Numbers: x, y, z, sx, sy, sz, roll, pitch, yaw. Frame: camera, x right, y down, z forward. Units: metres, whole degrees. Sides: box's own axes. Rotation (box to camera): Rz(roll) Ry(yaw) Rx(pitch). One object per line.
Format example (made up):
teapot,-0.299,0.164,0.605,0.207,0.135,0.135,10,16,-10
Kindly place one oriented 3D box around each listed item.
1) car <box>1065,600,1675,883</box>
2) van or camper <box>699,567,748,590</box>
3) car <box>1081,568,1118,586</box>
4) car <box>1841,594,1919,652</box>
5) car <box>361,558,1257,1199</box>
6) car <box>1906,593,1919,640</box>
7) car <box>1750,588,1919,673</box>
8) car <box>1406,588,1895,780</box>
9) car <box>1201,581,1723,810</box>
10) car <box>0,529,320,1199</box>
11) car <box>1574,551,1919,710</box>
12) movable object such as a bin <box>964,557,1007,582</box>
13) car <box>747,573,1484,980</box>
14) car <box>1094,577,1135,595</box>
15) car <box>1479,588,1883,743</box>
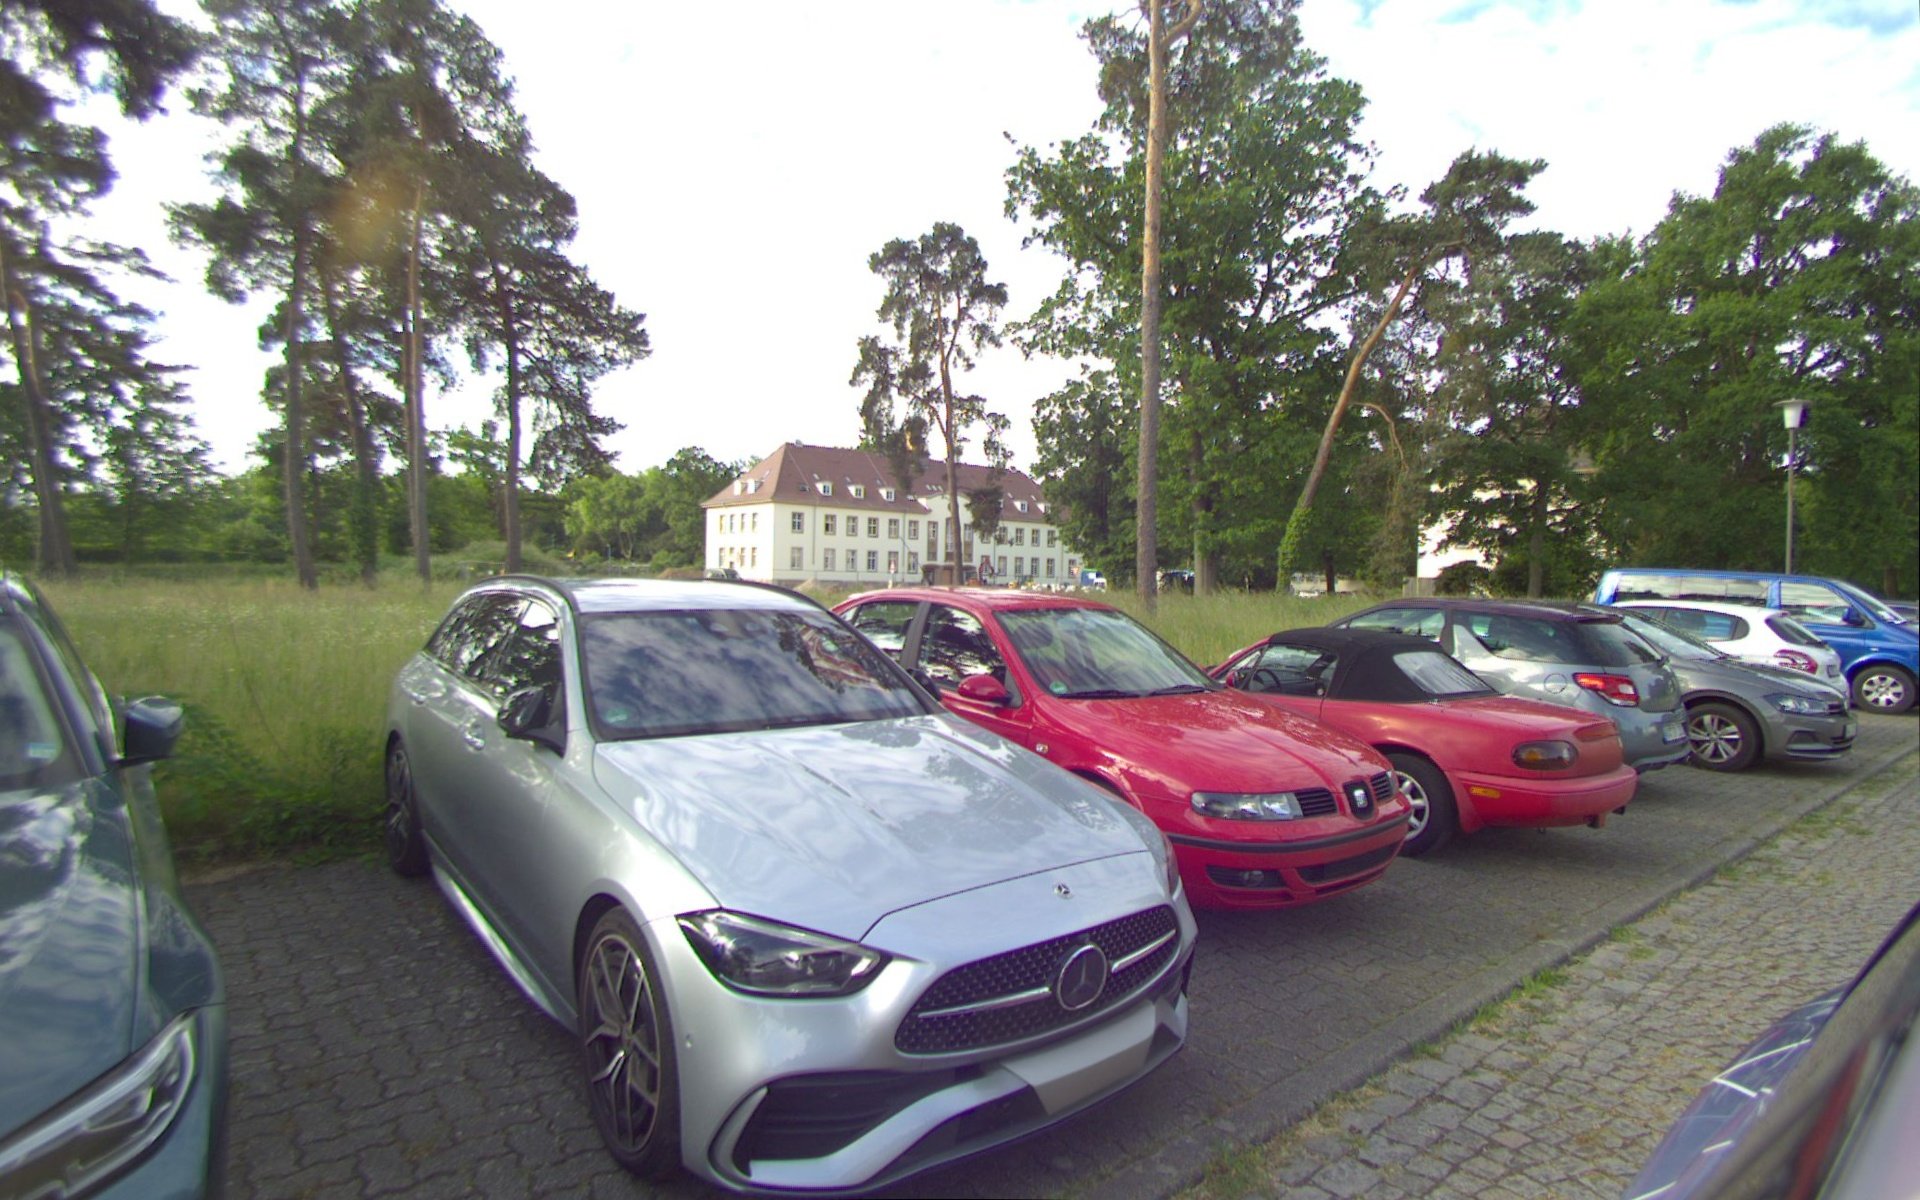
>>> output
car,2.541,0.724,6.950,1.578,1.303,3.556,2,1,-38
van or camper,-24.056,-2.171,102.757,6.065,2.250,1.968,2,2,44
car,16.503,-2.754,119.843,3.923,2.039,2.221,0,1,-35
car,27.025,0.665,28.012,1.554,1.544,3.833,0,2,-42
car,-1.131,0.595,4.294,1.736,1.446,4.335,0,2,-40
car,34.997,0.638,34.419,1.551,1.638,3.842,1,1,-34
car,19.269,0.620,21.394,1.554,1.621,3.833,1,1,-43
car,6.774,0.676,10.289,1.612,1.483,3.783,0,2,-37
car,4.204,0.634,8.995,1.576,1.522,3.837,0,2,-39
car,-3.078,0.592,2.550,1.776,1.501,4.520,0,2,-42
car,12.808,0.358,15.898,2.023,2.047,4.957,0,3,-38
movable object such as a bin,3.034,-3.515,118.704,5.119,2.802,1.995,0,2,-45
car,0.509,0.605,5.830,1.689,1.441,4.117,0,2,-39
car,15.413,-1.377,100.916,3.863,1.704,1.849,0,3,-37
car,8.697,0.667,12.501,1.552,1.517,3.763,0,1,-37
